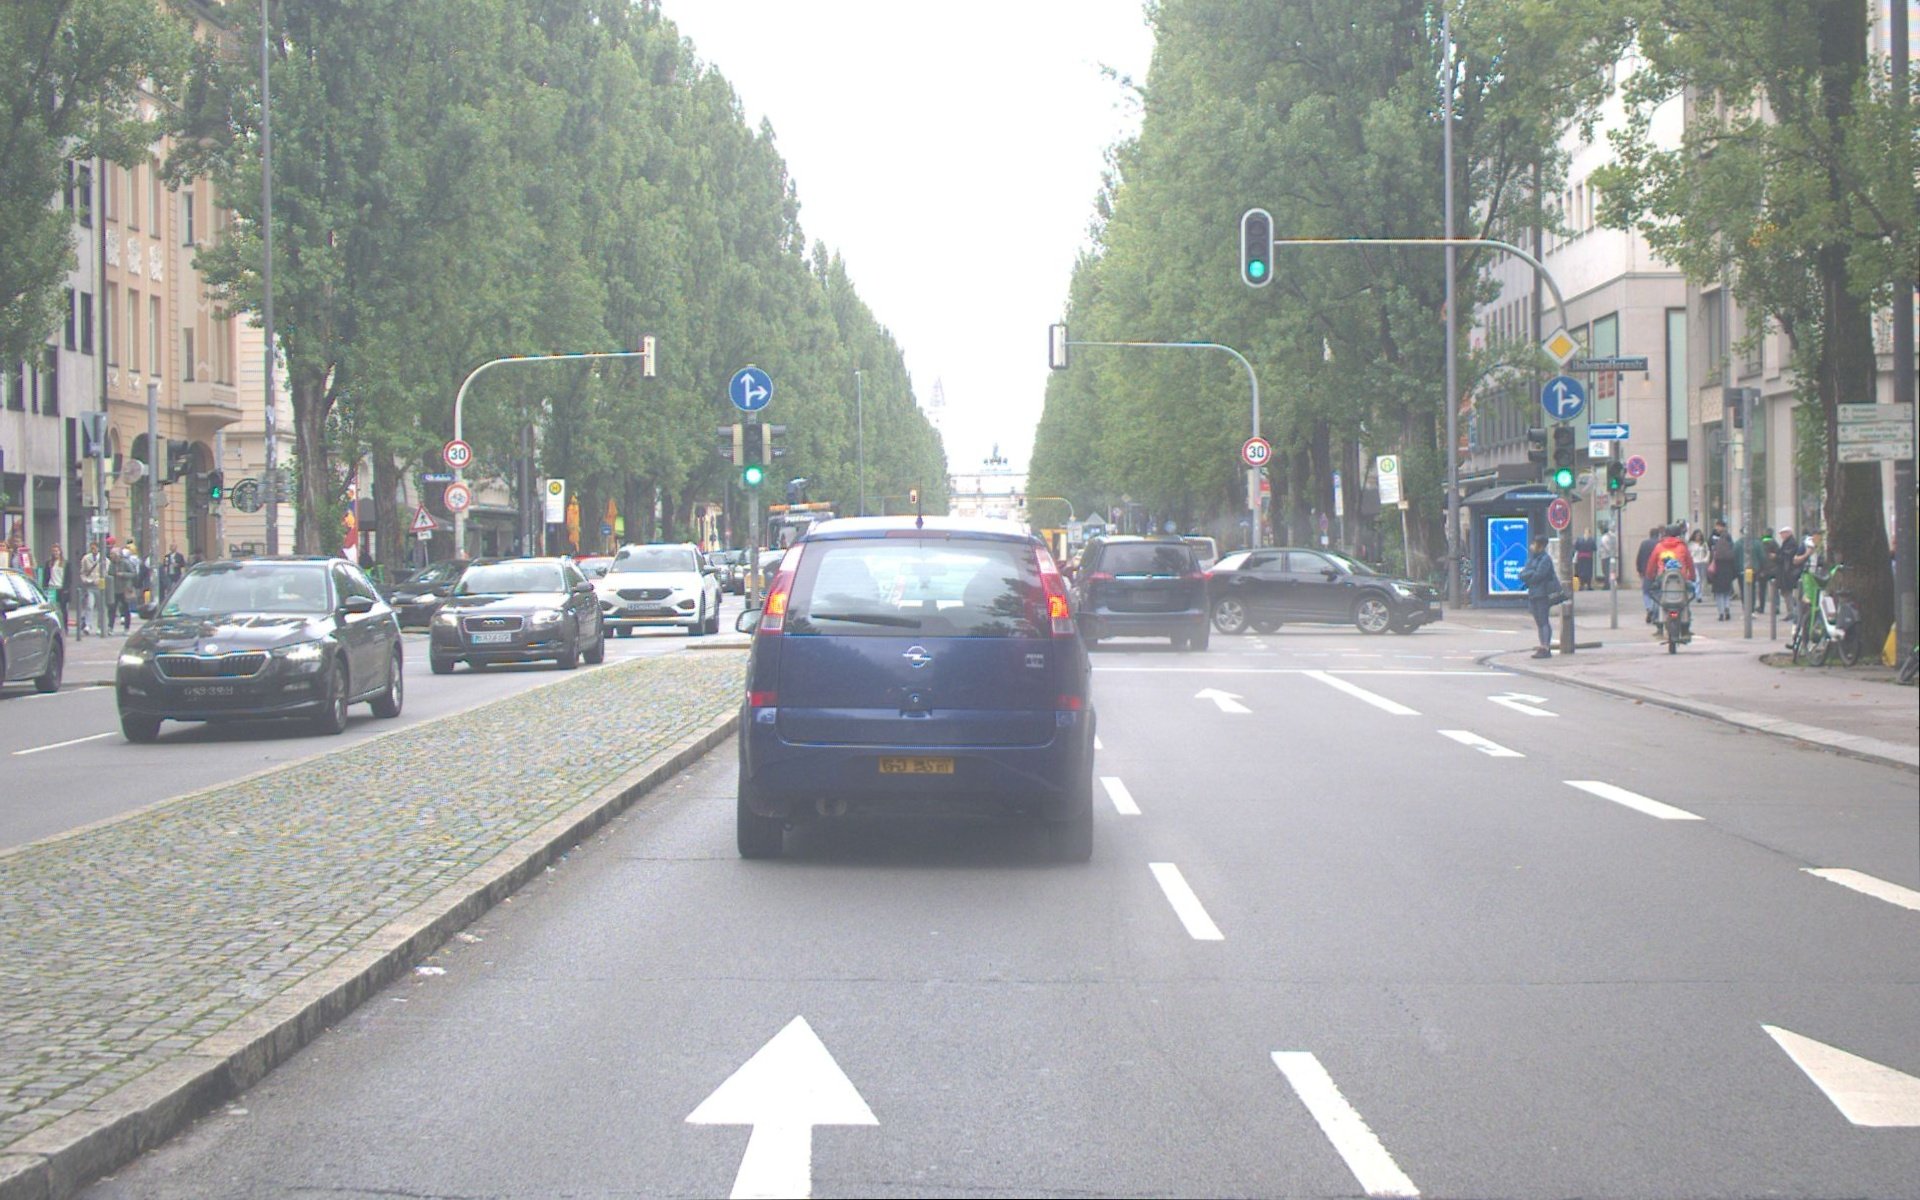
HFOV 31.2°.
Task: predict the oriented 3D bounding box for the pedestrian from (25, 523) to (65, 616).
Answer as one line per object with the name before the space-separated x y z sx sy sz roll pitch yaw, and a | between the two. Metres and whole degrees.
pedestrian | -16.812 -0.562 63.162 0.586 1.685 0.514 0 1 1

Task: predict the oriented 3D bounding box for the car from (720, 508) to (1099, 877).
car | -0.234 0.377 17.328 1.681 1.635 4.000 0 1 0

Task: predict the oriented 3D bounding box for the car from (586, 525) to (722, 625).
car | -5.352 -0.471 60.684 1.844 1.630 4.575 -2 1 1

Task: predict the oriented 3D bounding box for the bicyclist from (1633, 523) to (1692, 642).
bicyclist | 9.477 -0.235 46.385 0.621 1.583 0.753 -1 1 0

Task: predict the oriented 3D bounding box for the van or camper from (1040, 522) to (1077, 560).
van or camper | 6.894 -4.092 240.044 2.477 2.572 5.844 -1 1 1

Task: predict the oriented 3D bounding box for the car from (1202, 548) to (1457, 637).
car | 6.355 -0.151 59.180 3.993 1.456 1.757 1 1 26

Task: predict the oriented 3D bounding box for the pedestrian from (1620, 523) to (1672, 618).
pedestrian | 13.146 -0.575 65.910 0.818 1.811 0.891 0 1 -1

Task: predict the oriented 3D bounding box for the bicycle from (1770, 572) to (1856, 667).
bicycle | 9.802 0.212 39.561 0.508 1.044 1.770 0 1 -1

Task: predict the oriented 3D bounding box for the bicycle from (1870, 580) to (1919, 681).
bicycle | 9.743 0.304 34.889 0.508 0.972 1.770 0 1 -1

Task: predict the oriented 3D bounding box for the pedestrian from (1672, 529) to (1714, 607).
pedestrian | 16.594 -0.738 77.841 0.750 1.752 1.017 0 1 2

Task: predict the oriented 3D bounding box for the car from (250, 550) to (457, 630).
car | -11.648 -0.207 65.934 3.690 1.470 1.773 -1 1 -18

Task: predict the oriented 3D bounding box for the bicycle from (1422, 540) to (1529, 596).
bicycle | 11.761 -0.733 78.422 2.343 1.248 0.633 0 1 1

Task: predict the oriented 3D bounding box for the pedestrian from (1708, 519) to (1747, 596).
pedestrian | 17.404 -0.965 77.999 0.750 1.752 0.711 0 1 2

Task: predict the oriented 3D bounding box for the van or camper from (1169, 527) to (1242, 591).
van or camper | 7.363 -1.249 103.376 1.868 1.876 4.903 0 1 0

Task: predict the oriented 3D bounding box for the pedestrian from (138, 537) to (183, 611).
pedestrian | -17.149 -0.565 73.757 0.750 1.562 0.989 0 1 0

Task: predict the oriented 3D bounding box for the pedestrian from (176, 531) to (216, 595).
pedestrian | -19.283 -0.942 86.778 0.778 1.613 0.934 -1 1 0

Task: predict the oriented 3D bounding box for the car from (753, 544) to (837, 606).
car | -4.218 -0.671 88.309 1.843 1.496 4.986 -1 1 1

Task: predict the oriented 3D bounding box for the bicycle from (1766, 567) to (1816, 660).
bicycle | 10.056 0.154 41.582 0.405 1.066 1.810 5 2 16

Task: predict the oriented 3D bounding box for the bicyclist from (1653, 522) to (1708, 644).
bicyclist | 9.481 -0.224 45.239 0.621 1.583 0.391 -1 1 0

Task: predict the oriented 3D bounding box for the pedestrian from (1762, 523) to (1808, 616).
pedestrian | 15.653 -0.589 65.239 0.708 1.752 0.752 0 1 2

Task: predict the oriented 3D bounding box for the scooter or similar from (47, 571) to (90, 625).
scooter or similar | -18.194 -0.037 70.161 0.813 1.089 0.274 1 0 -3

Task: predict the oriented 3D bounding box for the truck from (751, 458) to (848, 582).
truck | -4.892 -2.440 106.030 2.463 3.657 8.440 -1 1 1

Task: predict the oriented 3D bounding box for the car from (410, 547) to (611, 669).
car | -5.539 0.061 42.851 1.836 1.356 4.176 -3 1 1

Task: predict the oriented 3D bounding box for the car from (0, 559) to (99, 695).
car | -10.967 0.291 37.936 1.703 1.433 4.590 -2 1 1

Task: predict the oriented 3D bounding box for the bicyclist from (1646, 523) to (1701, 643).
bicyclist | 9.481 -0.229 45.677 0.621 1.583 0.481 -1 1 0

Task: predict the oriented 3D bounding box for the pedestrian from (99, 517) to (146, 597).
pedestrian | -18.968 -0.970 77.863 0.800 1.781 0.912 1 1 1

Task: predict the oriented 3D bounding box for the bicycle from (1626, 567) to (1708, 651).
bicycle | 9.484 0.109 46.176 0.626 1.083 2.264 -1 1 0

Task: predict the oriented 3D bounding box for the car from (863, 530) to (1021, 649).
car | -0.238 -0.174 45.730 1.993 1.492 4.000 0 1 0

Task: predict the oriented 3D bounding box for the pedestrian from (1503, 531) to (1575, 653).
pedestrian | 7.708 -0.115 45.779 0.765 1.604 0.864 -1 1 -3

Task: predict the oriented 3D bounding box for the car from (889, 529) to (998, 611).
car | -0.311 -0.590 65.507 1.993 1.492 4.000 0 1 0

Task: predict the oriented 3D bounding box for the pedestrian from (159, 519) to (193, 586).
pedestrian | -21.156 -1.278 92.756 0.699 1.781 0.820 0 1 2

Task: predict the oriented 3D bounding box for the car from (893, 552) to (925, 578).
car | -3.369 -2.340 226.201 1.935 1.618 4.336 -2 1 0

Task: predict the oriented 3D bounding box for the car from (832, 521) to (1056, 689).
car | -0.150 0.008 32.882 1.993 1.492 4.000 -1 1 0

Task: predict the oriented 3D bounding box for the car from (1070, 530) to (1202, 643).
car | 2.521 -0.227 49.898 1.706 1.568 4.000 -1 1 0

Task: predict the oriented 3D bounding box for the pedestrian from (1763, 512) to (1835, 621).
pedestrian | 13.279 -0.518 54.418 0.665 1.697 0.860 0 -1 -43

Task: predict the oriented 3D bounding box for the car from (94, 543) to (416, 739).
car | -5.806 0.295 28.779 1.756 1.460 4.050 -2 1 1
